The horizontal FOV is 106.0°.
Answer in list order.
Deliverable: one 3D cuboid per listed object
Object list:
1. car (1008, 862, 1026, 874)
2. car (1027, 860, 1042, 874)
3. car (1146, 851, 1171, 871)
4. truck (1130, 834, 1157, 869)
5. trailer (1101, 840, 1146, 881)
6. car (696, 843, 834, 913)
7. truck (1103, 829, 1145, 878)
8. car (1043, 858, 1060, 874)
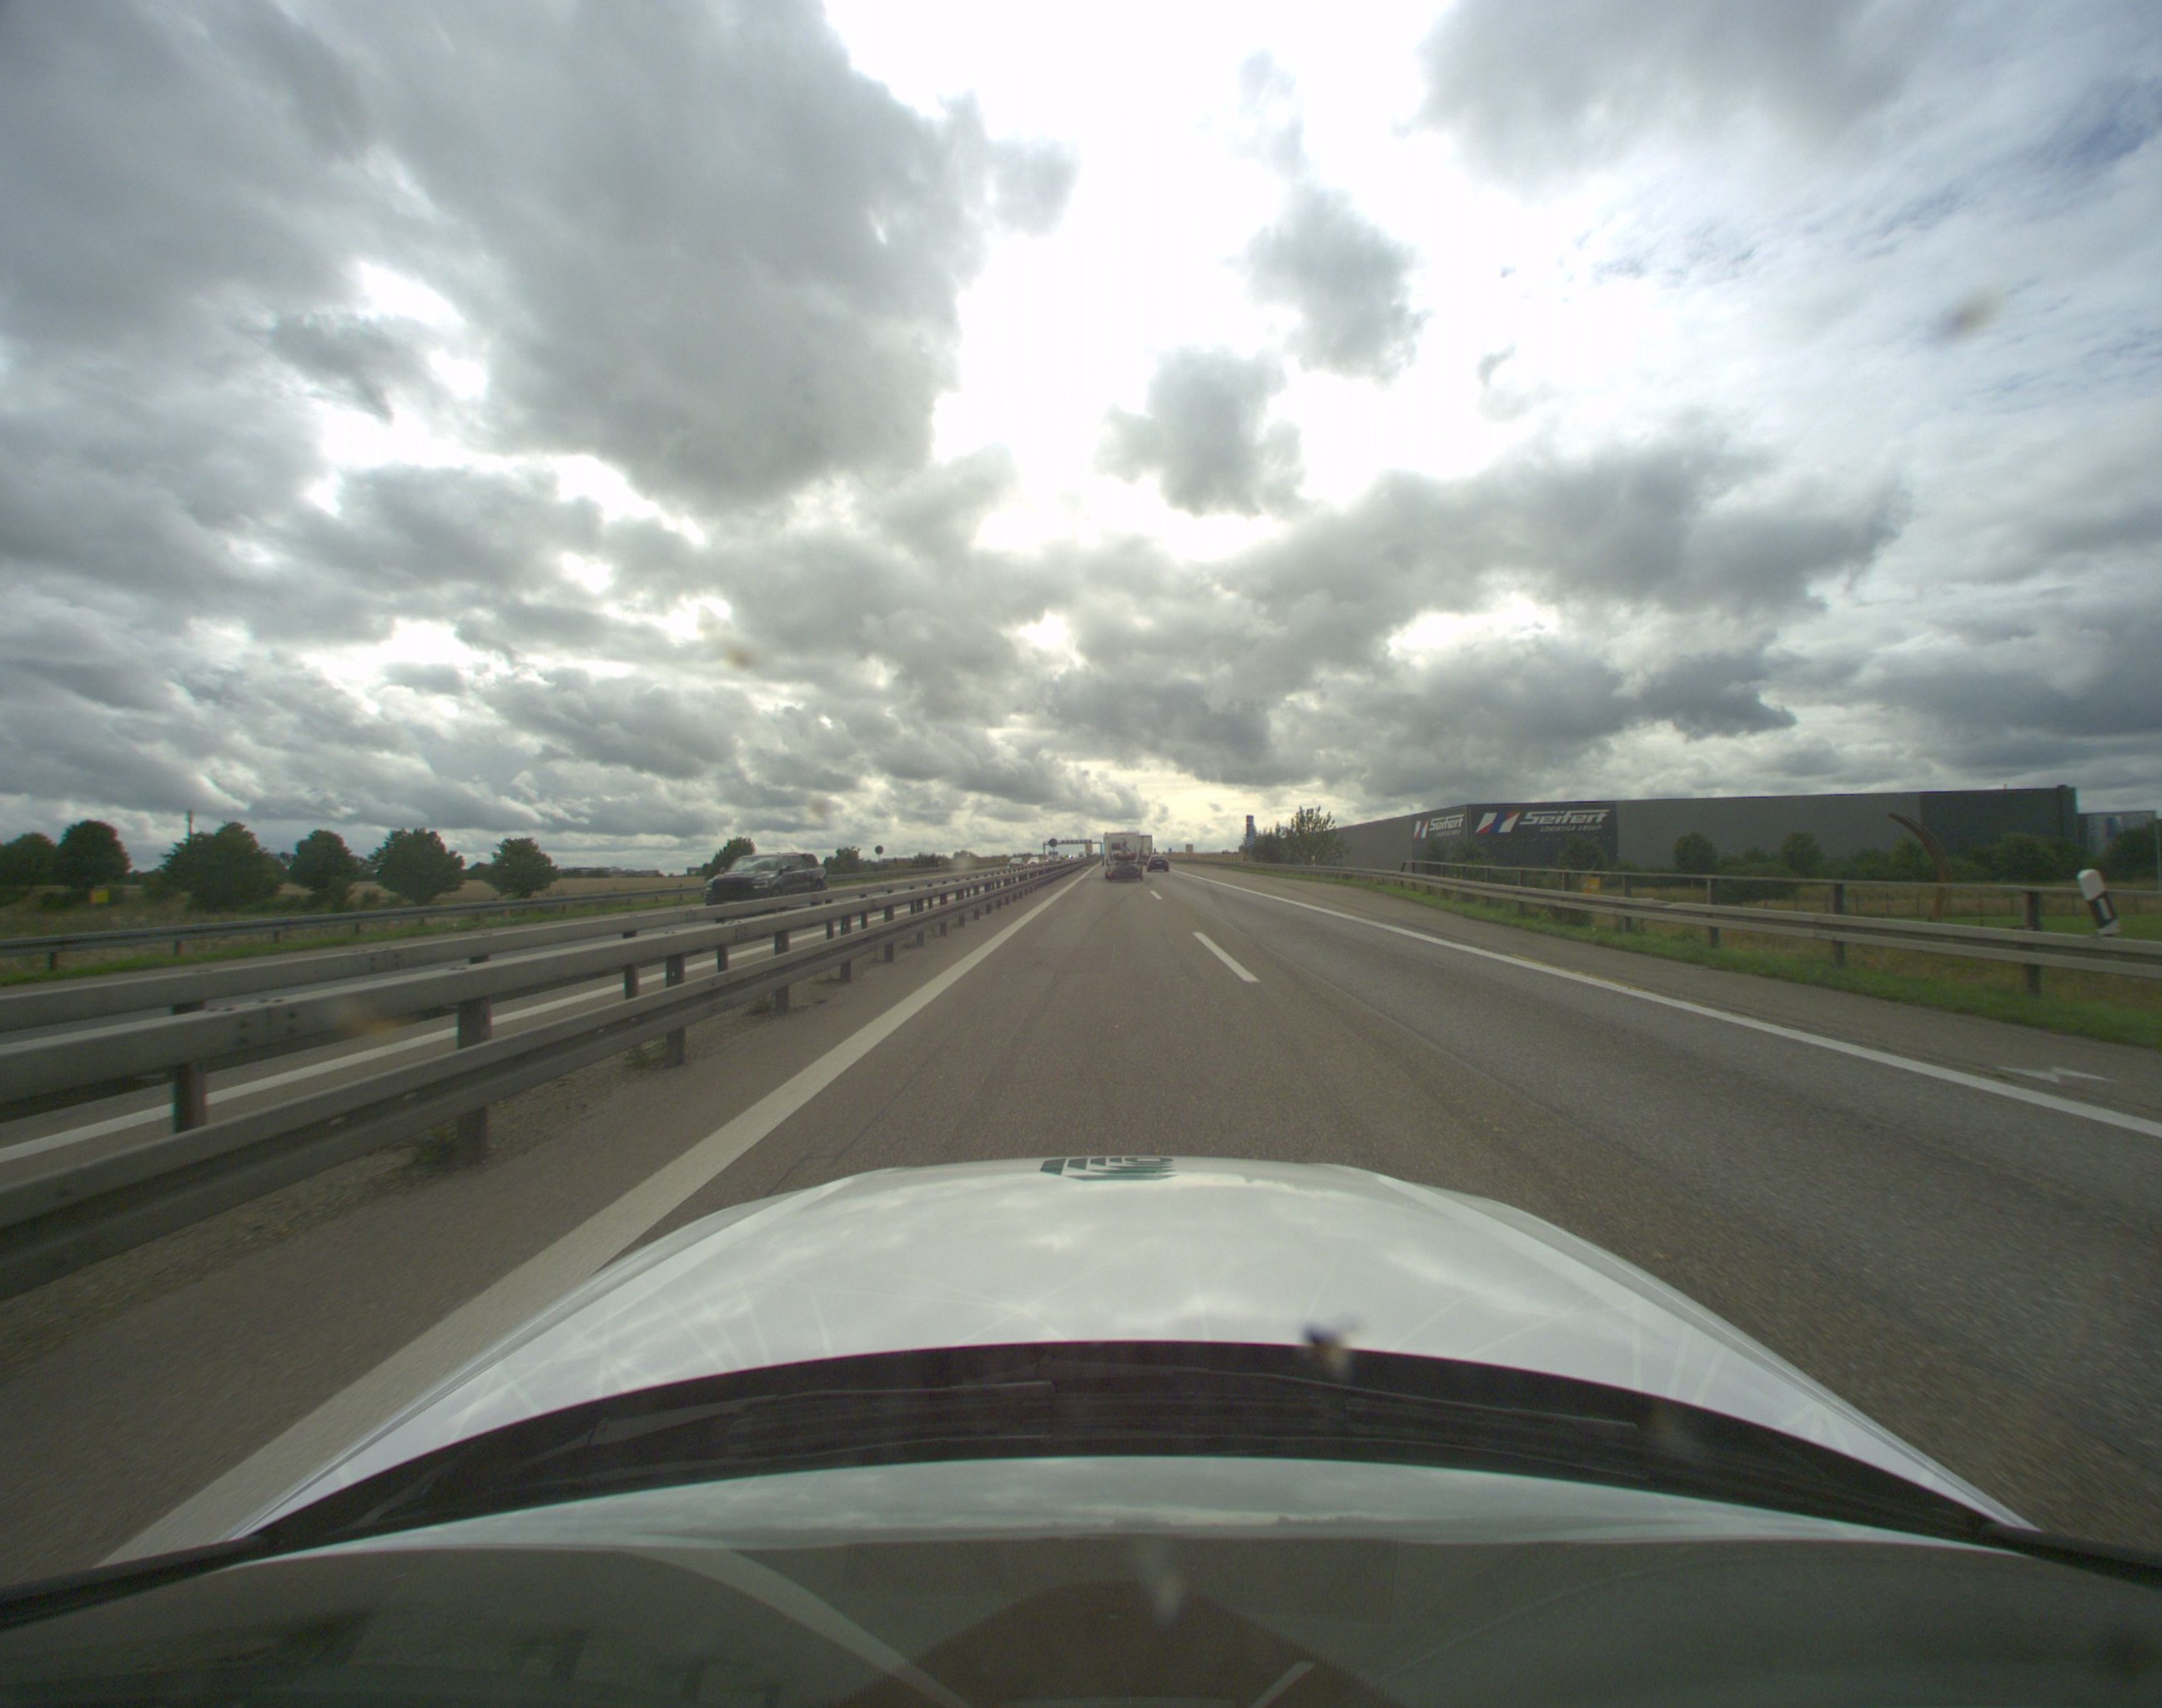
[{"bbox_3d":[-8.054,1.730,102.252,1.750,1.468,4.561,-1,0,1],"label":"car"},{"bbox_3d":[-7.229,2.071,126.943,1.987,2.014,4.383,-2,-1,0],"label":"car"},{"bbox_3d":[6.636,0.617,70.154,1.875,1.620,4.001,-2,-1,2],"label":"car"},{"bbox_3d":[8.443,-0.321,111.049,3.234,4.525,7.069,-2,-1,2],"label":"truck"},{"bbox_3d":[2.420,0.390,45.546,2.327,2.136,4.005,-2,-1,5],"label":"trailer"},{"bbox_3d":[-10.254,0.712,27.090,1.986,2.013,6.104,-2,0,2],"label":"car"},{"bbox_3d":[2.742,0.032,52.615,2.472,2.950,5.818,-2,-1,3],"label":"truck"},{"bbox_3d":[-3.889,1.526,107.879,1.987,2.013,4.384,-1,0,0],"label":"car"}]
